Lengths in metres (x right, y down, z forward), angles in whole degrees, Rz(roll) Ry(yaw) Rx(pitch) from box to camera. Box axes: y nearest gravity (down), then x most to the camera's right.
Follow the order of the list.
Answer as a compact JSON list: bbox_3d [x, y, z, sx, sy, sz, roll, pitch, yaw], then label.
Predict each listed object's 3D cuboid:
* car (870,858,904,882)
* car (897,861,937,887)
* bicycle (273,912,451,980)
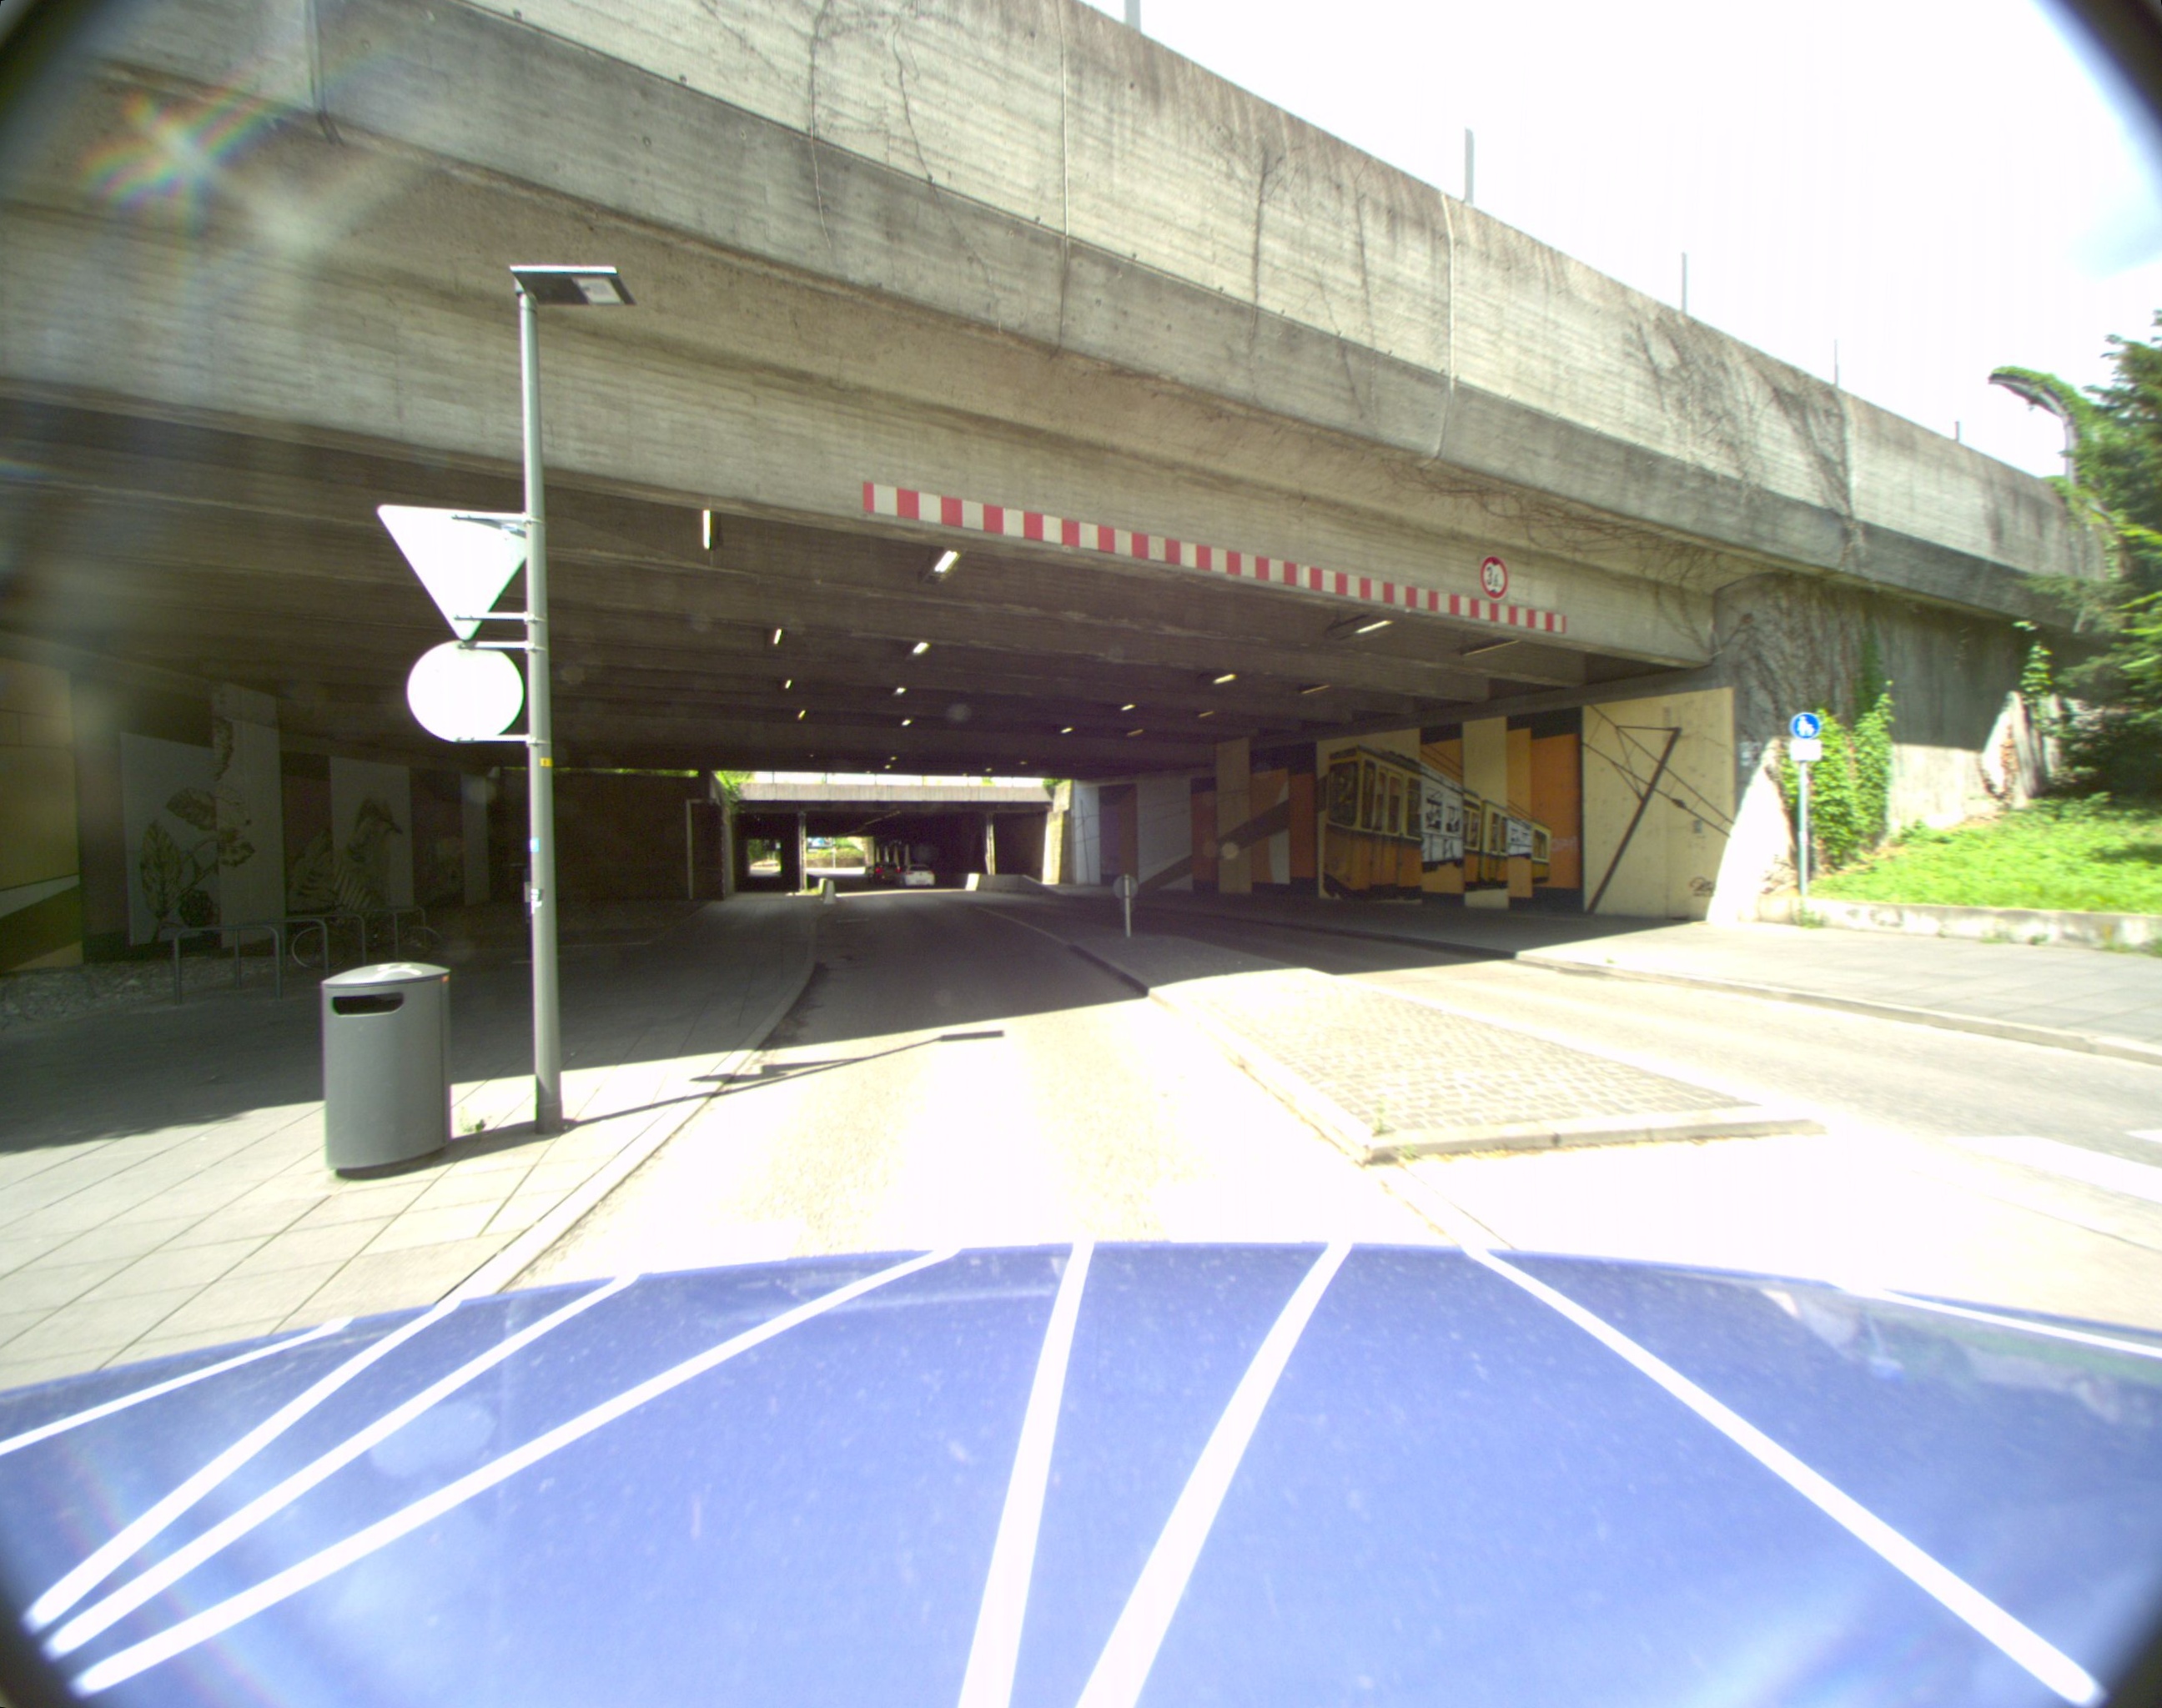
[{"bbox_3d":[-14.079,1.151,55.046,1.833,1.644,4.206,-1,0,-22],"label":"car"},{"bbox_3d":[-9.667,1.163,44.625,1.678,1.439,3.846,-1,0,-21],"label":"car"},{"bbox_3d":[-11.153,1.411,11.866,1.954,0.899,0.506,-1,1,-23],"label":"bicycle"}]
